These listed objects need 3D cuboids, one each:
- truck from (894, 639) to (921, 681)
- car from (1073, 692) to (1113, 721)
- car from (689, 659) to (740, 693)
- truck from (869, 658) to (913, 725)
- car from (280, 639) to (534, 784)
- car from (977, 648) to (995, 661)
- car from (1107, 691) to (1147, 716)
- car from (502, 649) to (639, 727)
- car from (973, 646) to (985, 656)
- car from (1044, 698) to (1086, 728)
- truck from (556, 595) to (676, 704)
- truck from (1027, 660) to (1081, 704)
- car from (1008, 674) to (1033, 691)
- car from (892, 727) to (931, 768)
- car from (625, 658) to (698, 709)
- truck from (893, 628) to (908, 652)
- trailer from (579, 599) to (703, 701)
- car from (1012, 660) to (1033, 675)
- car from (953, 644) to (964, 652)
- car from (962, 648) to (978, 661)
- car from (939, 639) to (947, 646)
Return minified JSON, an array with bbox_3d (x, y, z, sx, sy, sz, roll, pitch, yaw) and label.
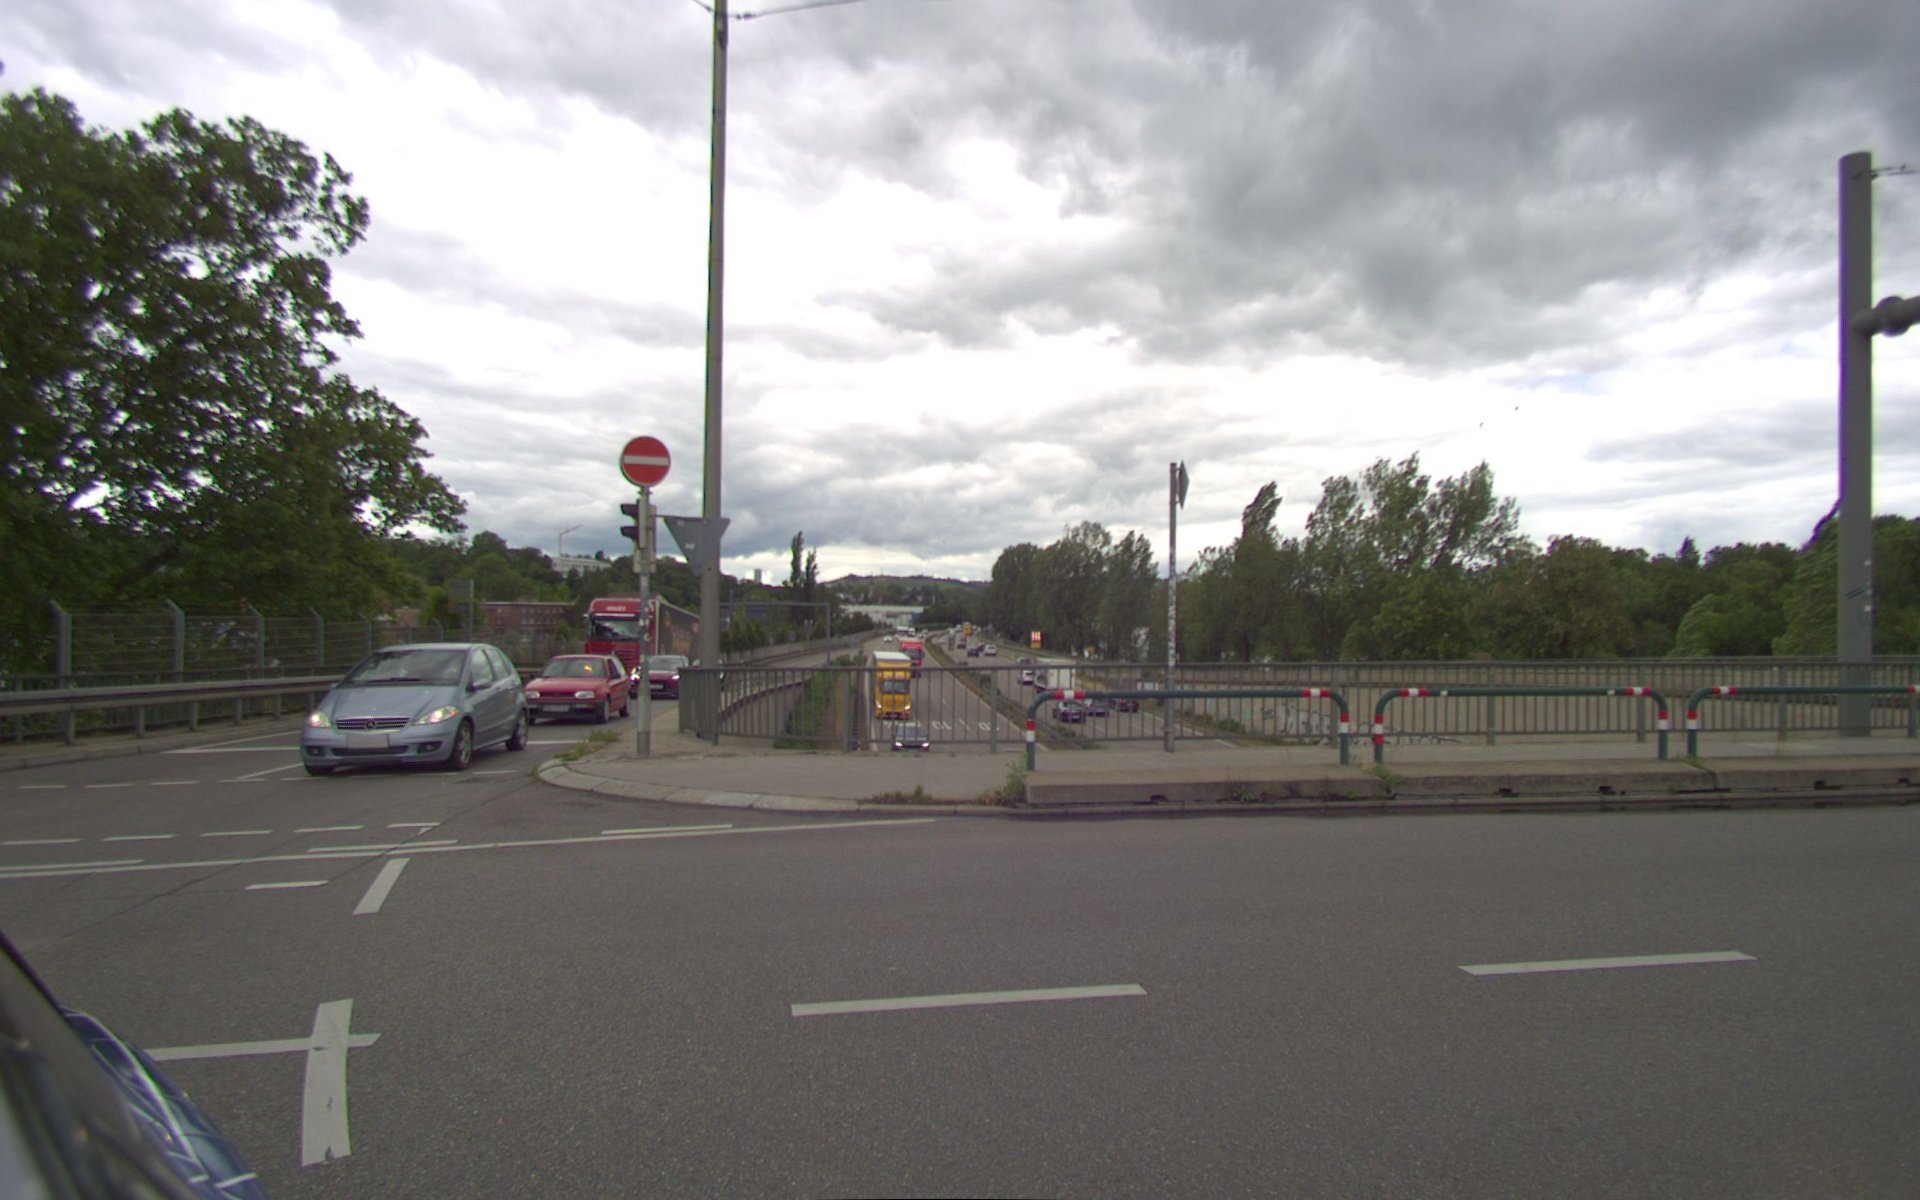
[{"bbox_3d":[-6.319,6.966,120.485,2.847,4.389,13.269,1,-1,-4],"label":"truck"},{"bbox_3d":[10.390,8.333,79.372,2.106,1.730,4.431,2,-1,-6],"label":"car"},{"bbox_3d":[-11.172,3.415,46.288,1.671,1.431,4.473,0,-3,-6],"label":"car"},{"bbox_3d":[-5.258,6.667,75.469,2.859,4.215,10.036,3,-1,-5],"label":"truck"},{"bbox_3d":[-7.024,1.356,13.310,1.721,1.616,3.688,0,-3,-8],"label":"car"},{"bbox_3d":[4.529,9.591,178.433,2.560,2.029,4.646,2,-1,-4],"label":"car"},{"bbox_3d":[13.769,8.517,83.761,2.106,1.577,4.431,2,-1,-6],"label":"car"},{"bbox_3d":[-8.140,1.804,21.519,1.721,1.474,3.959,0,-3,-6],"label":"car"},{"bbox_3d":[3.671,9.947,196.448,1.970,1.782,3.485,3,-3,-3],"label":"car"},{"bbox_3d":[7.704,8.290,74.620,2.302,1.730,4.736,-1,-1,-4],"label":"car"},{"bbox_3d":[-14.779,2.195,44.191,3.613,4.355,7.247,0,-3,-8],"label":"truck"},{"bbox_3d":[8.820,7.674,96.019,3.540,3.482,8.250,3,-1,-5],"label":"truck"},{"bbox_3d":[6.532,8.910,109.681,1.970,1.630,4.333,2,-2,-5],"label":"car"},{"bbox_3d":[-2.588,7.723,53.263,1.852,1.711,3.844,2,-2,-4],"label":"car"},{"bbox_3d":[-10.242,2.832,34.991,1.671,1.431,4.474,0,-1,-6],"label":"car"},{"bbox_3d":[-13.700,9.088,232.284,3.329,4.992,13.948,0,-1,-4],"label":"truck"},{"bbox_3d":[-15.435,2.538,50.295,3.613,4.355,13.804,0,-3,-8],"label":"trailer"},{"bbox_3d":[8.439,9.060,136.716,1.968,1.630,4.337,2,0,-8],"label":"car"},{"bbox_3d":[-0.397,10.048,211.767,1.970,1.730,3.642,3,-3,-3],"label":"car"},{"bbox_3d":[1.729,9.302,171.925,2.192,2.029,4.646,2,-1,-4],"label":"car"},{"bbox_3d":[-4.239,10.614,251.328,1.970,1.730,3.642,3,-3,-3],"label":"car"}]
